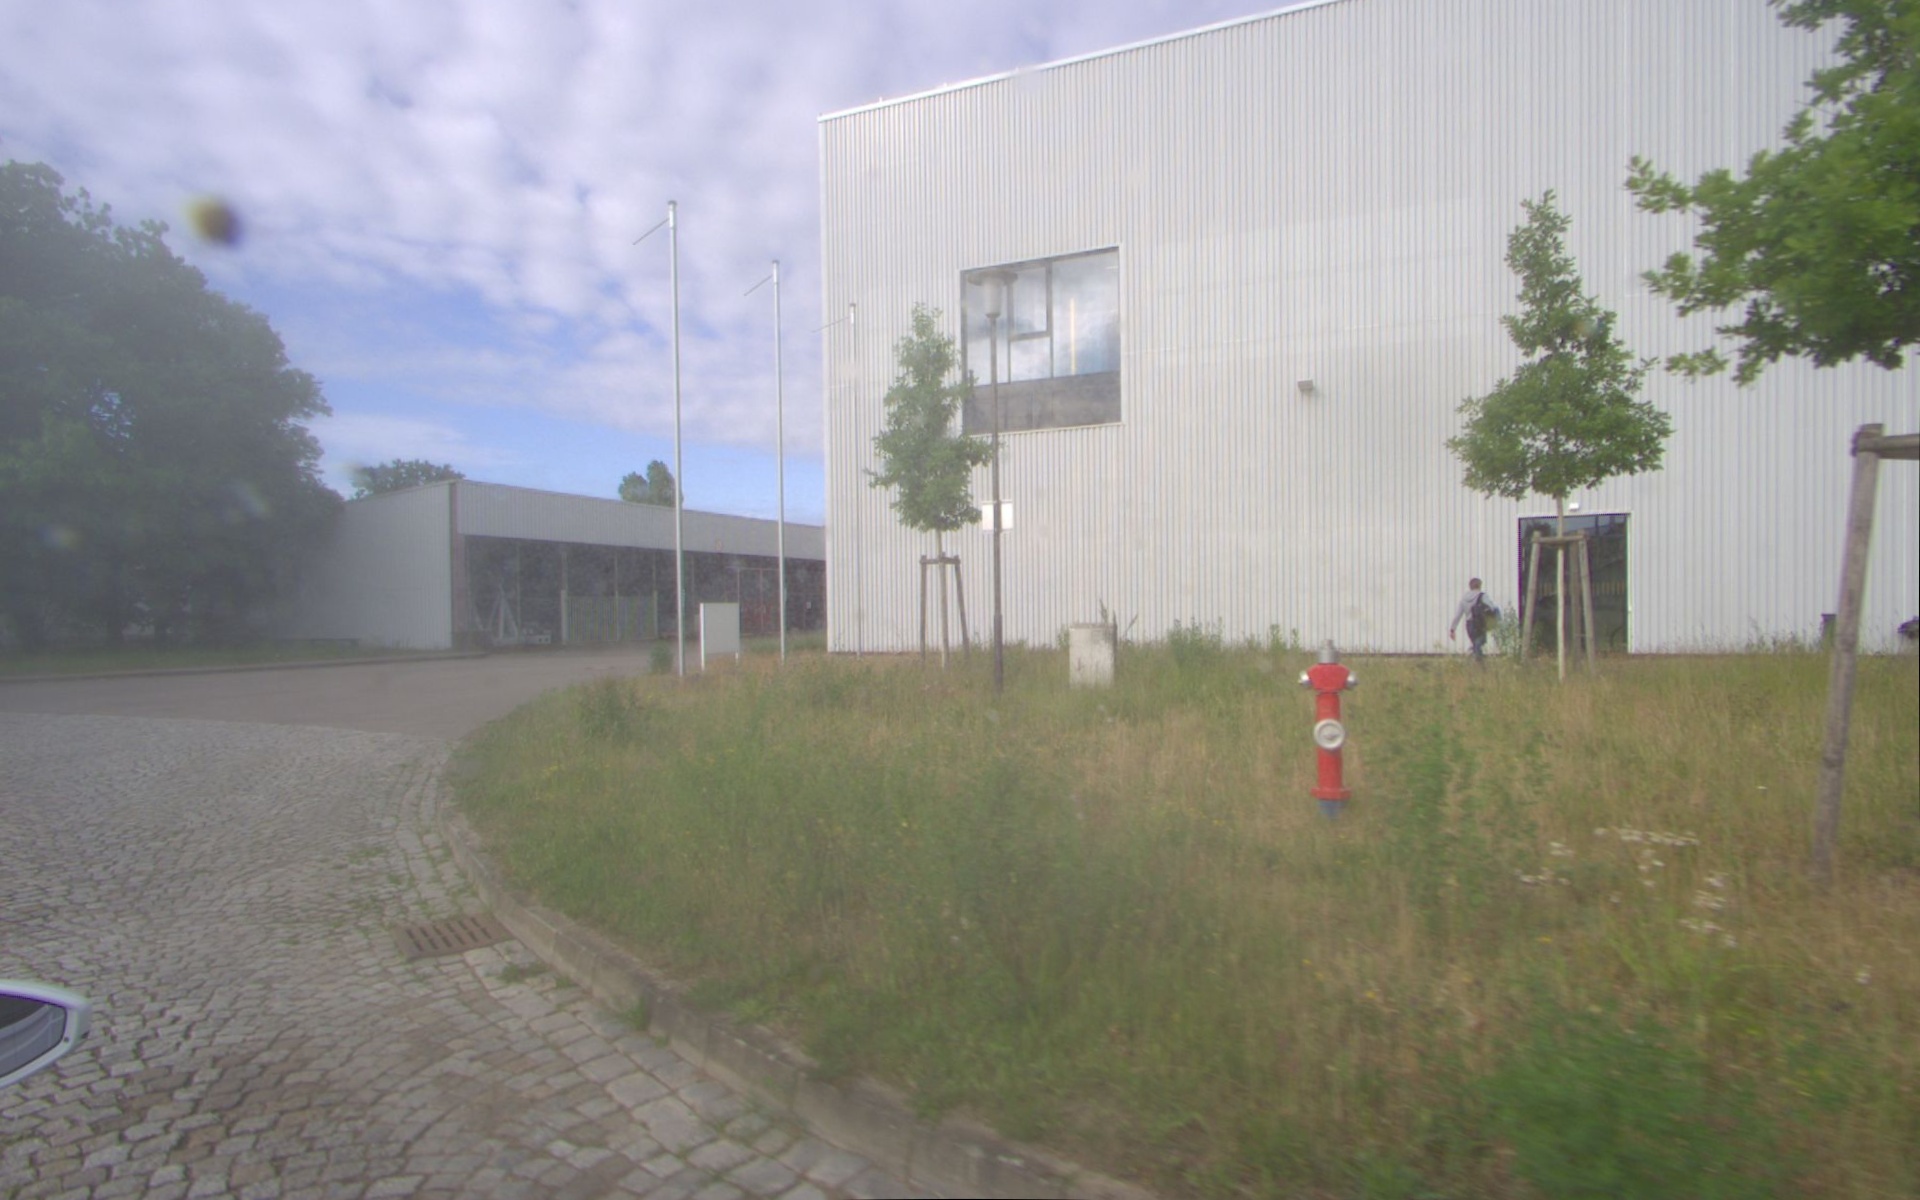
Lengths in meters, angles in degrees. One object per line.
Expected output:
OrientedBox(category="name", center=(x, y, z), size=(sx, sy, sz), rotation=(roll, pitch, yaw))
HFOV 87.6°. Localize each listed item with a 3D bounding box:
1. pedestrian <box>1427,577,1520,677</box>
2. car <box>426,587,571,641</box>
OrientedBox(category="pedestrian", center=(8.518, 0.433, 16.607), size=(1.068, 1.577, 1.065), rotation=(-1, 1, -43))
OrientedBox(category="car", center=(-18.343, 0.554, 39.786), size=(5.246, 2.040, 2.242), rotation=(-1, 0, 22))
